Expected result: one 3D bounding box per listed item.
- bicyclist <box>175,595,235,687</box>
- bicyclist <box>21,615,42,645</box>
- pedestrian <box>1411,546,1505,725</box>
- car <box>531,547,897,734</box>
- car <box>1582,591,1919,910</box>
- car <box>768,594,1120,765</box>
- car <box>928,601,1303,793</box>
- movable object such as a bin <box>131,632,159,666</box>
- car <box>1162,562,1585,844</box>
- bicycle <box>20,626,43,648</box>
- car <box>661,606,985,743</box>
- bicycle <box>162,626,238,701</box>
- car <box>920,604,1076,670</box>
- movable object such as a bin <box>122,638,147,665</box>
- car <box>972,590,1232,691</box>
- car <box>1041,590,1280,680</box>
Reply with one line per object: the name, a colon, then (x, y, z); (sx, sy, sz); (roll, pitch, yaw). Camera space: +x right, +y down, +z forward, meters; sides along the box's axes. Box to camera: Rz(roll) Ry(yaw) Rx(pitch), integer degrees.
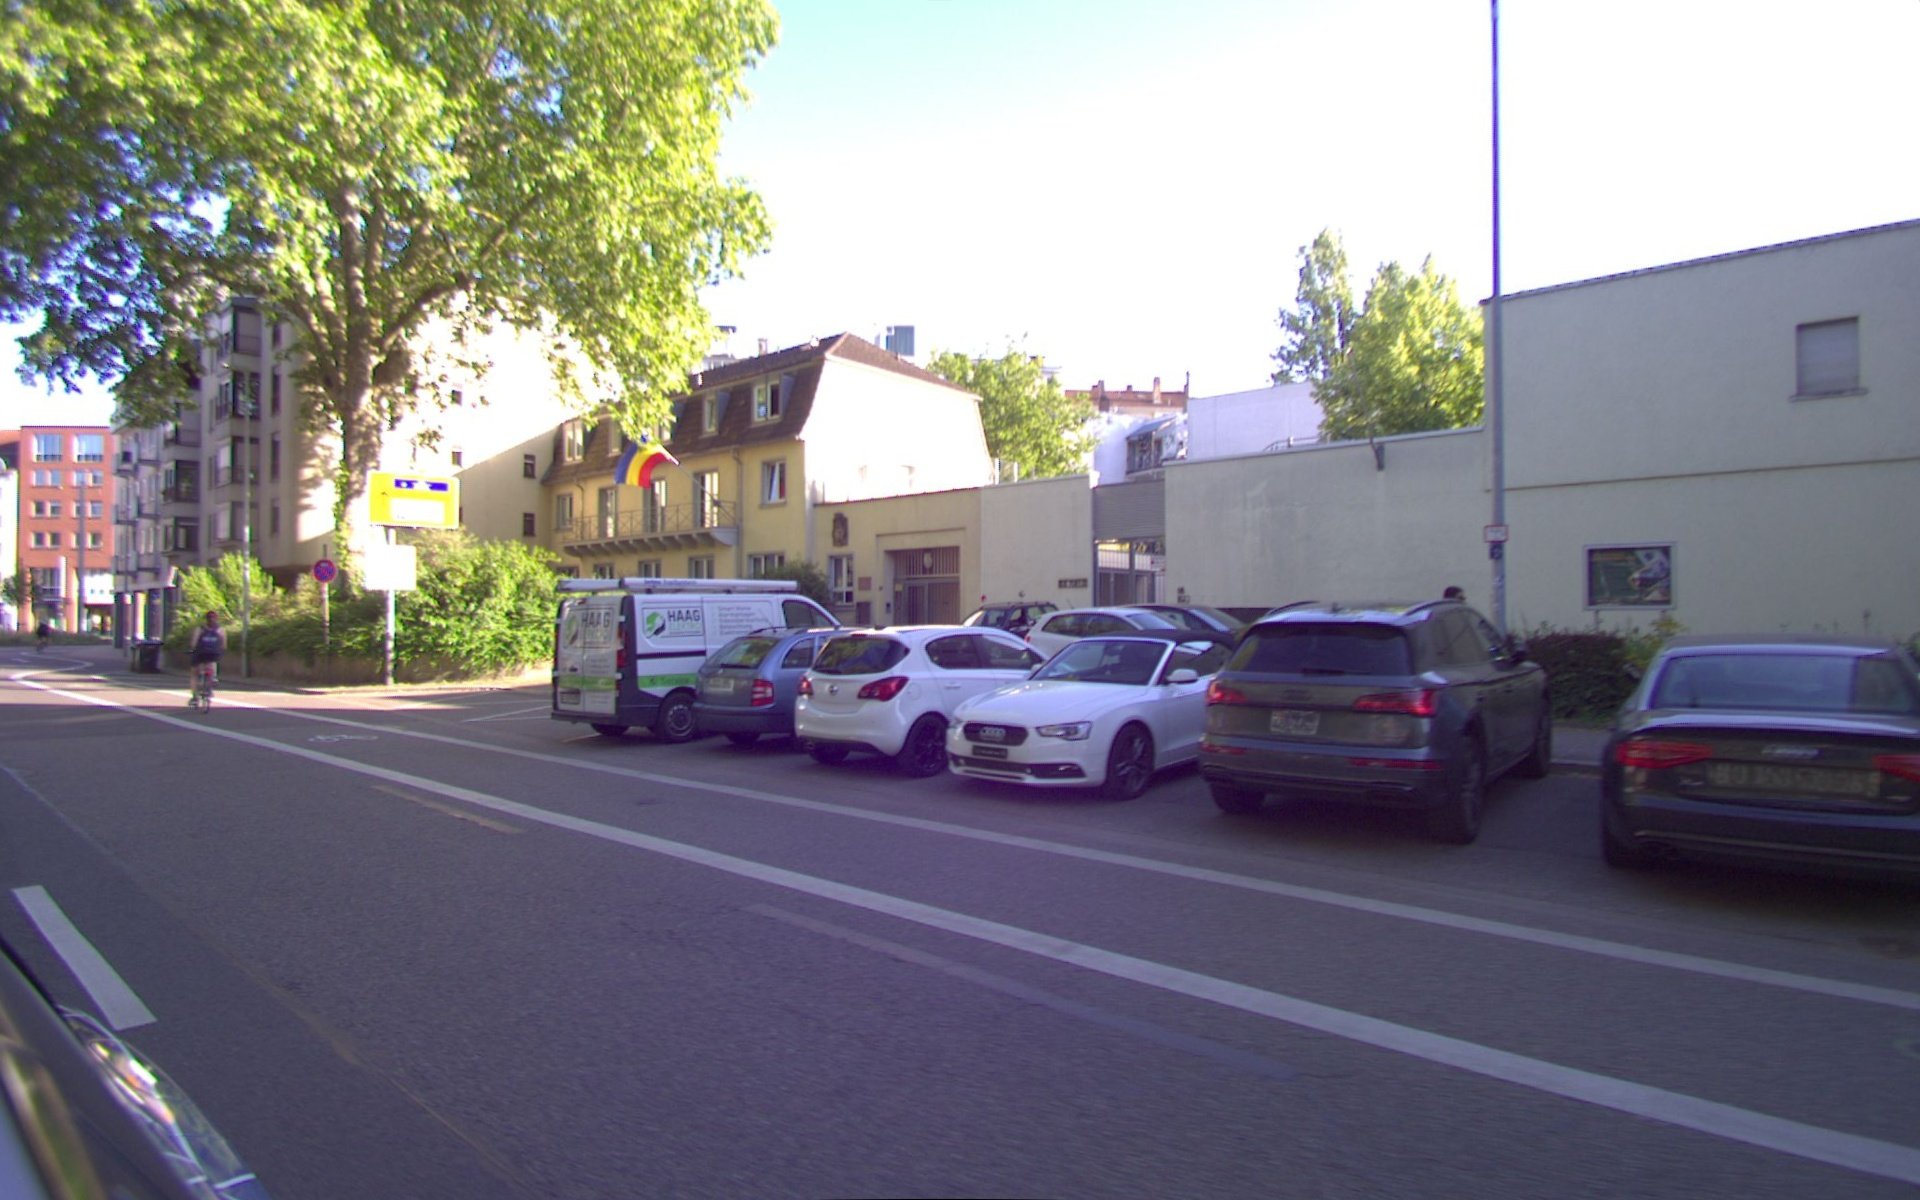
bicyclist: (-13.167, 0.714, 17.641); (0.933, 1.557, 0.600); (-2, -4, 41)
bicyclist: (-50.962, 1.632, 55.562); (1.167, 1.654, 0.721); (-1, -2, 42)
pedestrian: (5.238, 0.367, 10.639); (0.722, 1.803, 0.625); (-2, -2, 40)
car: (-3.356, 0.456, 14.658); (2.138, 2.233, 4.795); (-1, 0, 40)
car: (5.447, 0.697, 6.475); (1.915, 1.467, 3.946); (-1, 0, 40)
car: (-0.023, 0.749, 11.511); (1.852, 1.571, 3.946); (-2, -1, 40)
car: (1.697, 0.775, 9.978); (1.852, 1.444, 3.946); (-2, -1, 40)
movable object such as a bin: (-26.816, 1.598, 33.297); (0.644, 1.079, 0.588); (-1, -2, 41)
car: (3.604, 0.616, 8.352); (2.027, 1.696, 4.151); (-1, 0, 40)
bicycle: (-51.041, 2.030, 55.641); (2.178, 1.209, 0.721); (-1, -3, 43)
car: (-1.631, 0.839, 13.139); (1.852, 1.444, 3.946); (-1, 0, 40)
bicycle: (-13.436, 1.106, 17.871); (2.048, 1.249, 0.600); (-2, -4, 41)
car: (1.021, 0.896, 25.548); (1.890, 1.428, 3.819); (-3, -1, 43)
movable object such as a bin: (-28.235, 1.762, 34.617); (0.603, 0.908, 0.536); (-1, -2, 41)
car: (2.315, 0.643, 17.090); (3.998, 1.475, 1.771); (-2, 0, 41)
car: (3.658, 0.618, 18.832); (3.998, 1.475, 1.771); (-2, 1, 41)
